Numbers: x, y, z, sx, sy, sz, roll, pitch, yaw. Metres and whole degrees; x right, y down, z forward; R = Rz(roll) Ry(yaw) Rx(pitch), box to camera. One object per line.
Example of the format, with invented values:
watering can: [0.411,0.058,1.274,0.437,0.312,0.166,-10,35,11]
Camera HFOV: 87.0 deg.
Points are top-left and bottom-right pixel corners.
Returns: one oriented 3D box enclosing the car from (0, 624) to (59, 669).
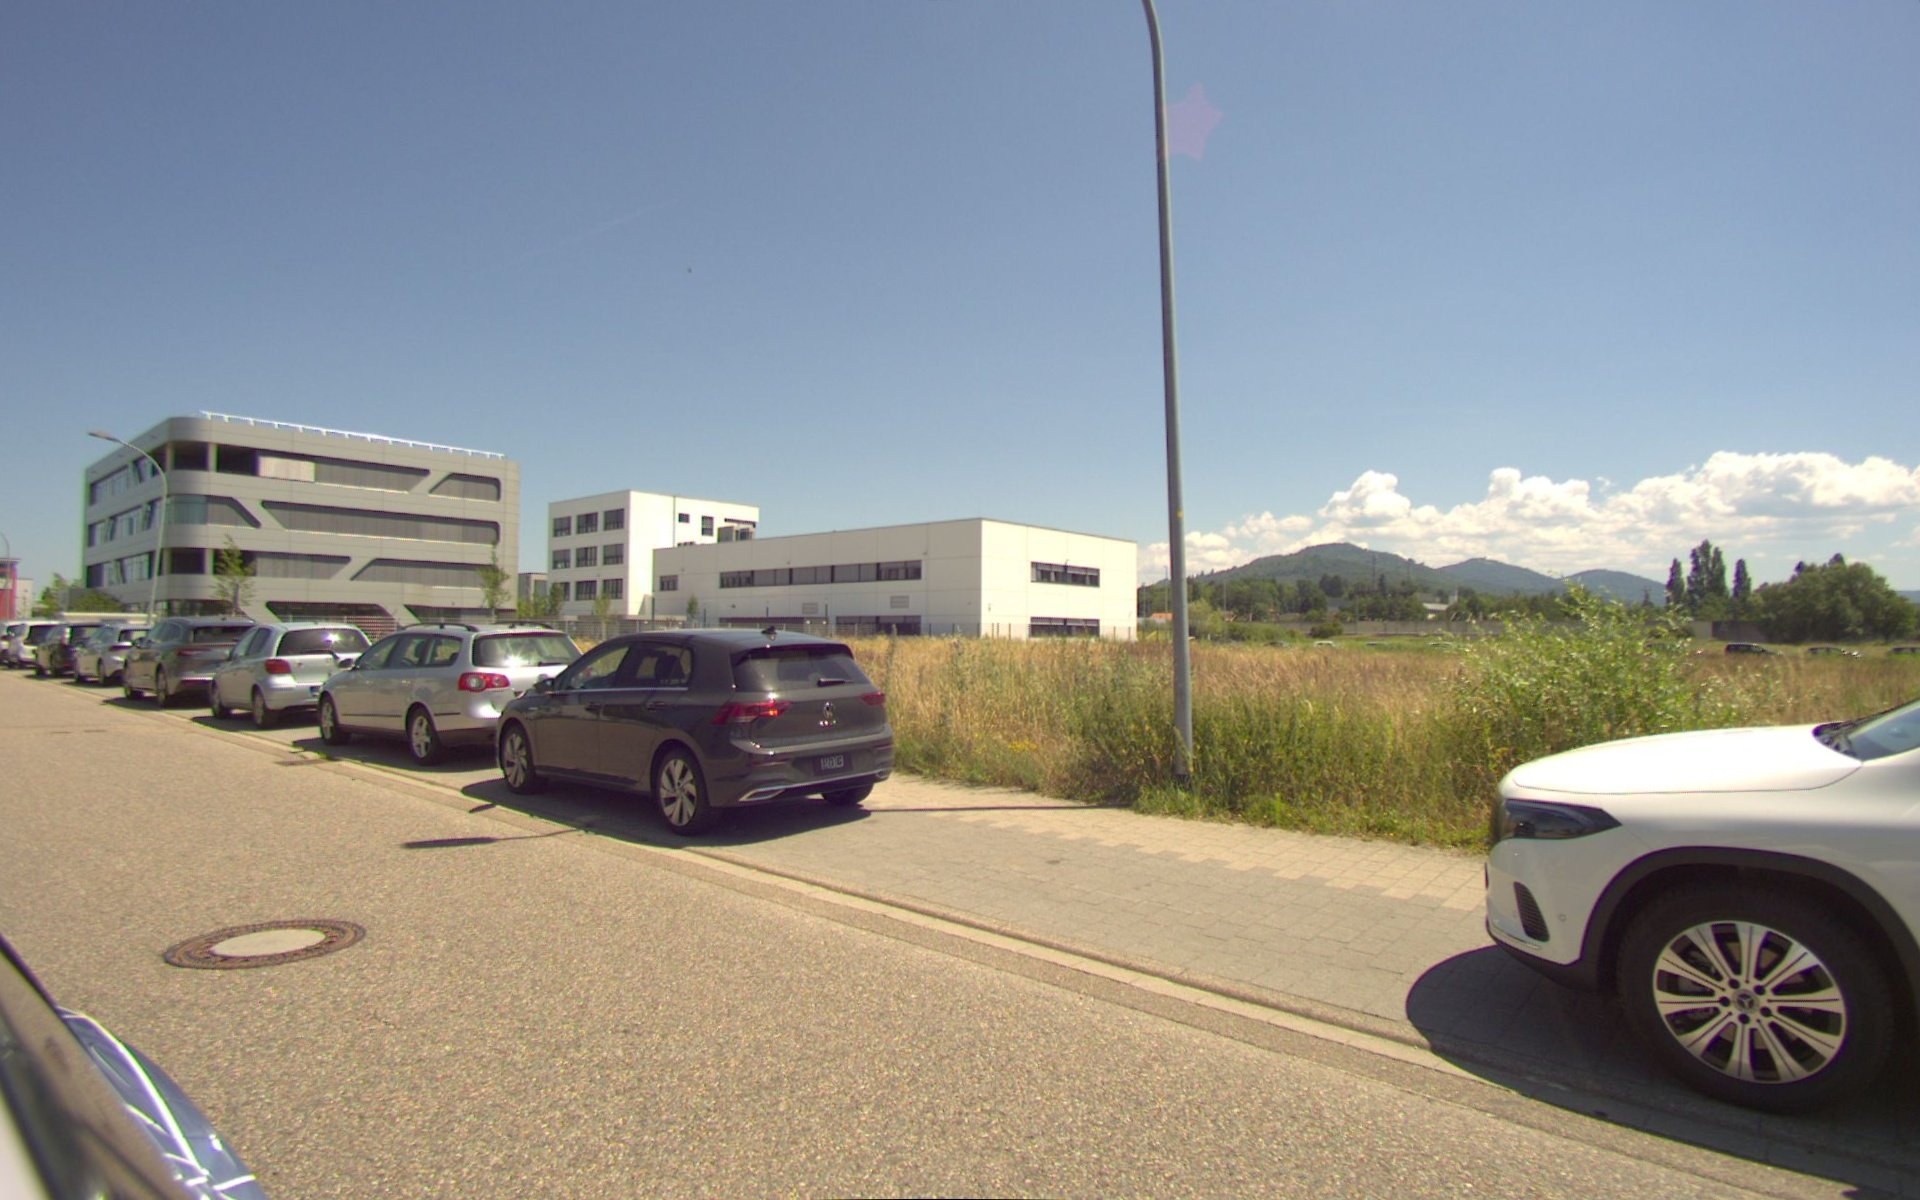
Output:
car: [-34.155,1.646,36.733,4.365,1.554,1.767,-2,-2,43]

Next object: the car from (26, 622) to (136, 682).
car: [-24.723,1.404,28.414,4.377,1.529,1.745,-1,-1,41]

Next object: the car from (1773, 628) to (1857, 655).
car: [66.090,3.211,78.304,4.918,2.029,1.973,-1,-3,41]

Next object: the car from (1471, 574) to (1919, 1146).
car: [4.038,0.722,2.849,4.357,1.604,1.751,-1,-1,40]

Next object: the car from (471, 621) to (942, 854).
car: [-2.328,0.937,8.636,4.227,1.492,1.837,-1,-1,41]

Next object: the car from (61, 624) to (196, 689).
car: [-20.556,1.340,24.974,4.195,1.462,1.746,-1,-1,39]

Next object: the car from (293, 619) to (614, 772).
car: [-6.266,0.997,12.242,4.812,1.492,1.757,-1,-1,41]

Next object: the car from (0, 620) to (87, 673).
car: [-30.424,1.500,33.487,3.766,1.669,1.769,-2,-2,40]

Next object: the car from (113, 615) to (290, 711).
car: [-14.489,1.112,19.246,4.460,1.619,1.772,-1,-1,41]

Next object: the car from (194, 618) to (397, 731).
car: [-10.384,1.062,15.737,3.733,1.537,1.676,-1,-1,41]

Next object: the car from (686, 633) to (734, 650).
car: [-23.076,3.858,93.600,1.921,1.597,3.945,-2,-4,41]

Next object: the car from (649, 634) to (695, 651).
car: [-28.103,4.175,98.890,1.917,1.597,3.953,-2,-3,34]
